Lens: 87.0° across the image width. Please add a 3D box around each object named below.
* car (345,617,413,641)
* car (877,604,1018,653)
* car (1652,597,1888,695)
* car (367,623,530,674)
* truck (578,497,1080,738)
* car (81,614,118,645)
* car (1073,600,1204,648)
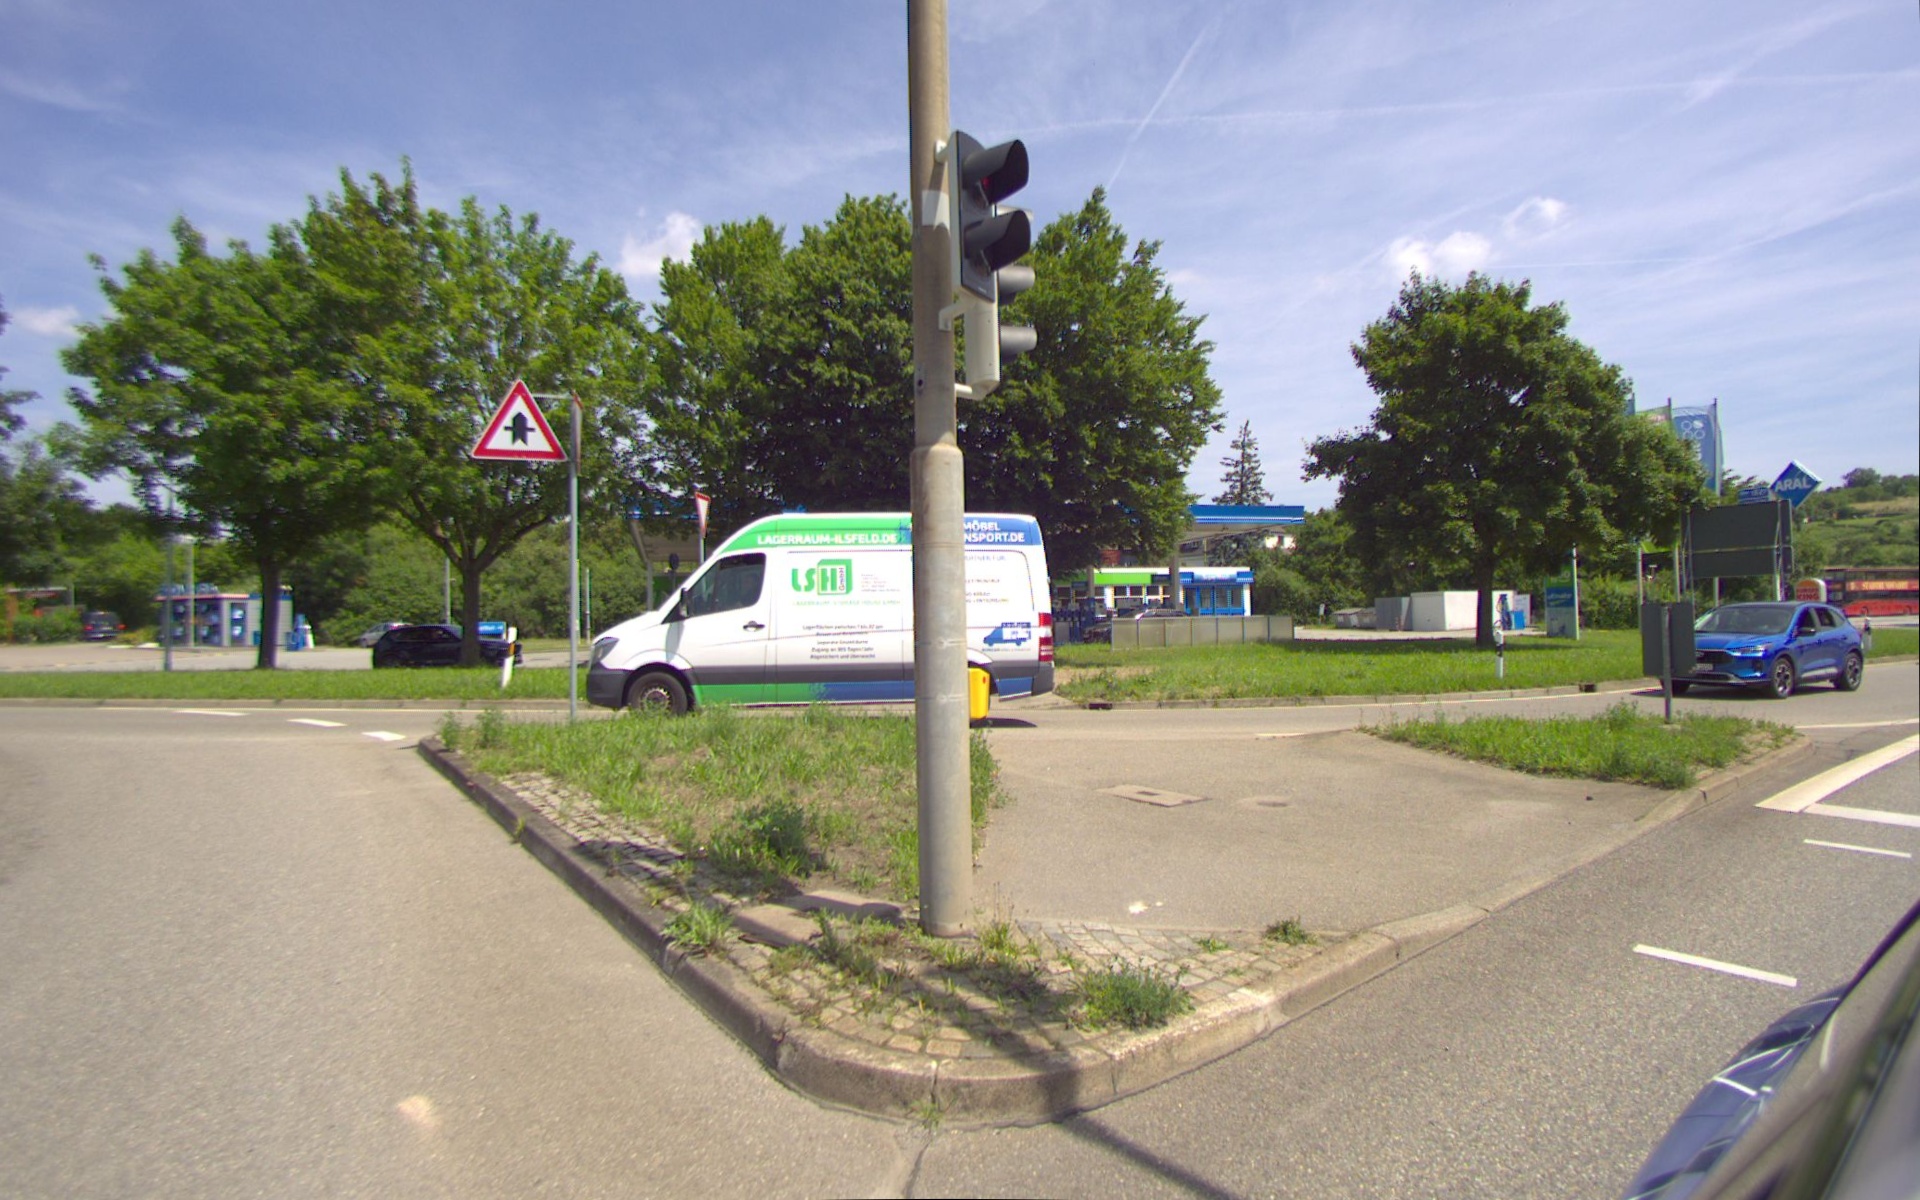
[{"bbox_3d":[-35.117,1.743,61.197,3.800,1.398,1.713,-1,-1,25],"label":"car"},{"bbox_3d":[-0.477,1.011,37.344,4.837,1.623,2.043,-1,0,-13],"label":"car"},{"bbox_3d":[14.818,0.761,18.490,4.299,1.578,1.786,-1,-1,-28],"label":"car"},{"bbox_3d":[-16.105,1.512,31.993,4.239,1.380,1.760,-2,0,0],"label":"car"},{"bbox_3d":[-1.580,0.227,12.941,5.823,2.773,2.074,0,-3,-6],"label":"truck"},{"bbox_3d":[-55.886,1.875,65.723,1.807,1.861,3.993,0,0,-41],"label":"car"},{"bbox_3d":[6.883,0.889,39.170,4.533,1.642,2.004,-1,0,-13],"label":"car"}]
